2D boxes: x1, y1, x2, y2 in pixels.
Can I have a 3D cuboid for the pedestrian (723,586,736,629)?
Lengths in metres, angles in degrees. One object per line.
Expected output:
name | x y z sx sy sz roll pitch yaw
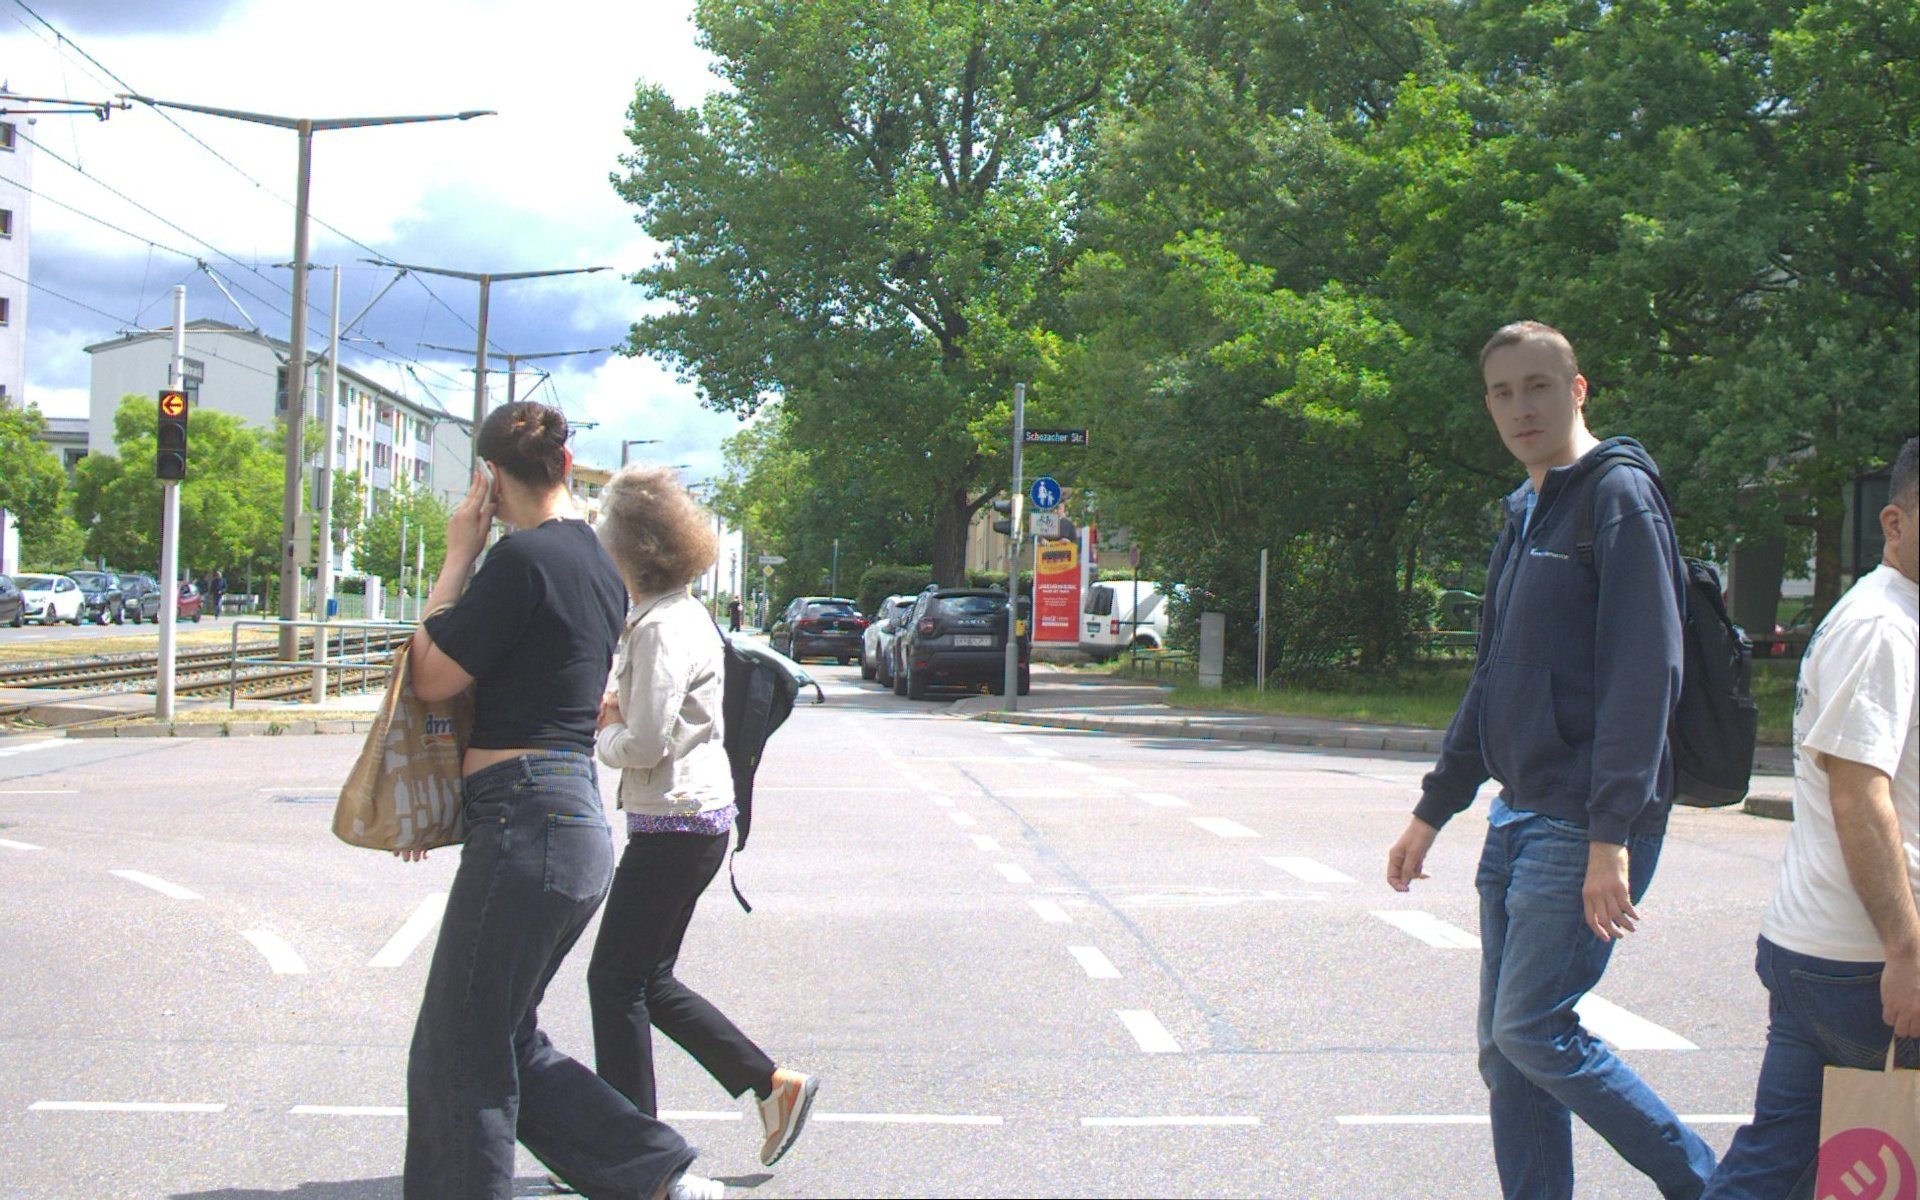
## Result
pedestrian | -8.874 0.282 132.345 0.478 1.631 0.454 1 1 -1

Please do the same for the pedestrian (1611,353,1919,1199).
pedestrian | 1.572 0.539 5.474 0.868 1.802 0.742 1 1 -4

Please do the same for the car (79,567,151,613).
car | -26.935 -0.332 109.641 1.760 1.390 4.001 1 1 -7

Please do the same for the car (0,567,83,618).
car | -26.298 -0.236 98.484 1.760 1.390 4.001 1 1 -7

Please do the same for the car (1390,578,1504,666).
car | 10.535 0.448 74.556 1.630 1.804 4.033 1 1 -4

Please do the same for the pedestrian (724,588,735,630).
pedestrian | -8.861 0.345 132.243 0.333 1.622 0.358 1 1 -18

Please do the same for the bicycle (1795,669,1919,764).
bicycle | 8.941 1.108 33.040 0.791 0.816 1.808 1 1 -26

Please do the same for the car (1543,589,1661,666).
car | 14.267 0.592 76.595 1.630 1.589 4.001 1 1 -4

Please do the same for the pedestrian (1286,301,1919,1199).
pedestrian | 1.181 0.453 6.427 0.966 1.935 0.897 1 1 -5

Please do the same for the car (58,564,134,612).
car | -26.376 -0.379 105.076 1.760 1.390 4.001 1 1 -7

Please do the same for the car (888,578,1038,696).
car | 0.026 0.548 51.803 2.152 1.678 4.000 1 0 -1

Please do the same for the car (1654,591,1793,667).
car | 17.059 0.638 77.025 1.730 1.589 4.001 1 1 -8

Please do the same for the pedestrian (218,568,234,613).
pedestrian | -27.020 -0.340 126.538 0.452 1.631 0.480 1 1 -3

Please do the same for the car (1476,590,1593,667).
car | 12.538 0.602 75.256 1.630 1.567 4.033 1 1 -4

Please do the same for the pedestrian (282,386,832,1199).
pedestrian | -0.783 0.506 6.462 0.933 1.759 0.772 1 1 -12

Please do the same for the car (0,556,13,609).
car | -26.295 -0.472 91.018 1.760 1.390 4.001 1 1 -7

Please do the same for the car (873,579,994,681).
car | -0.464 0.511 59.250 1.993 1.678 4.000 1 0 -1

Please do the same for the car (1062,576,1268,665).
car | 4.371 0.435 73.327 3.986 1.817 1.779 1 1 -23

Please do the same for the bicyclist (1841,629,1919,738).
bicyclist | 8.984 0.799 32.959 0.791 1.019 0.636 1 1 -27

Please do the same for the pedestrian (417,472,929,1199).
pedestrian | -0.646 0.551 8.013 0.953 1.668 0.870 0 0 15

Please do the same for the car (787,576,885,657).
car | -2.667 0.333 74.580 1.993 1.678 4.000 1 1 -1
